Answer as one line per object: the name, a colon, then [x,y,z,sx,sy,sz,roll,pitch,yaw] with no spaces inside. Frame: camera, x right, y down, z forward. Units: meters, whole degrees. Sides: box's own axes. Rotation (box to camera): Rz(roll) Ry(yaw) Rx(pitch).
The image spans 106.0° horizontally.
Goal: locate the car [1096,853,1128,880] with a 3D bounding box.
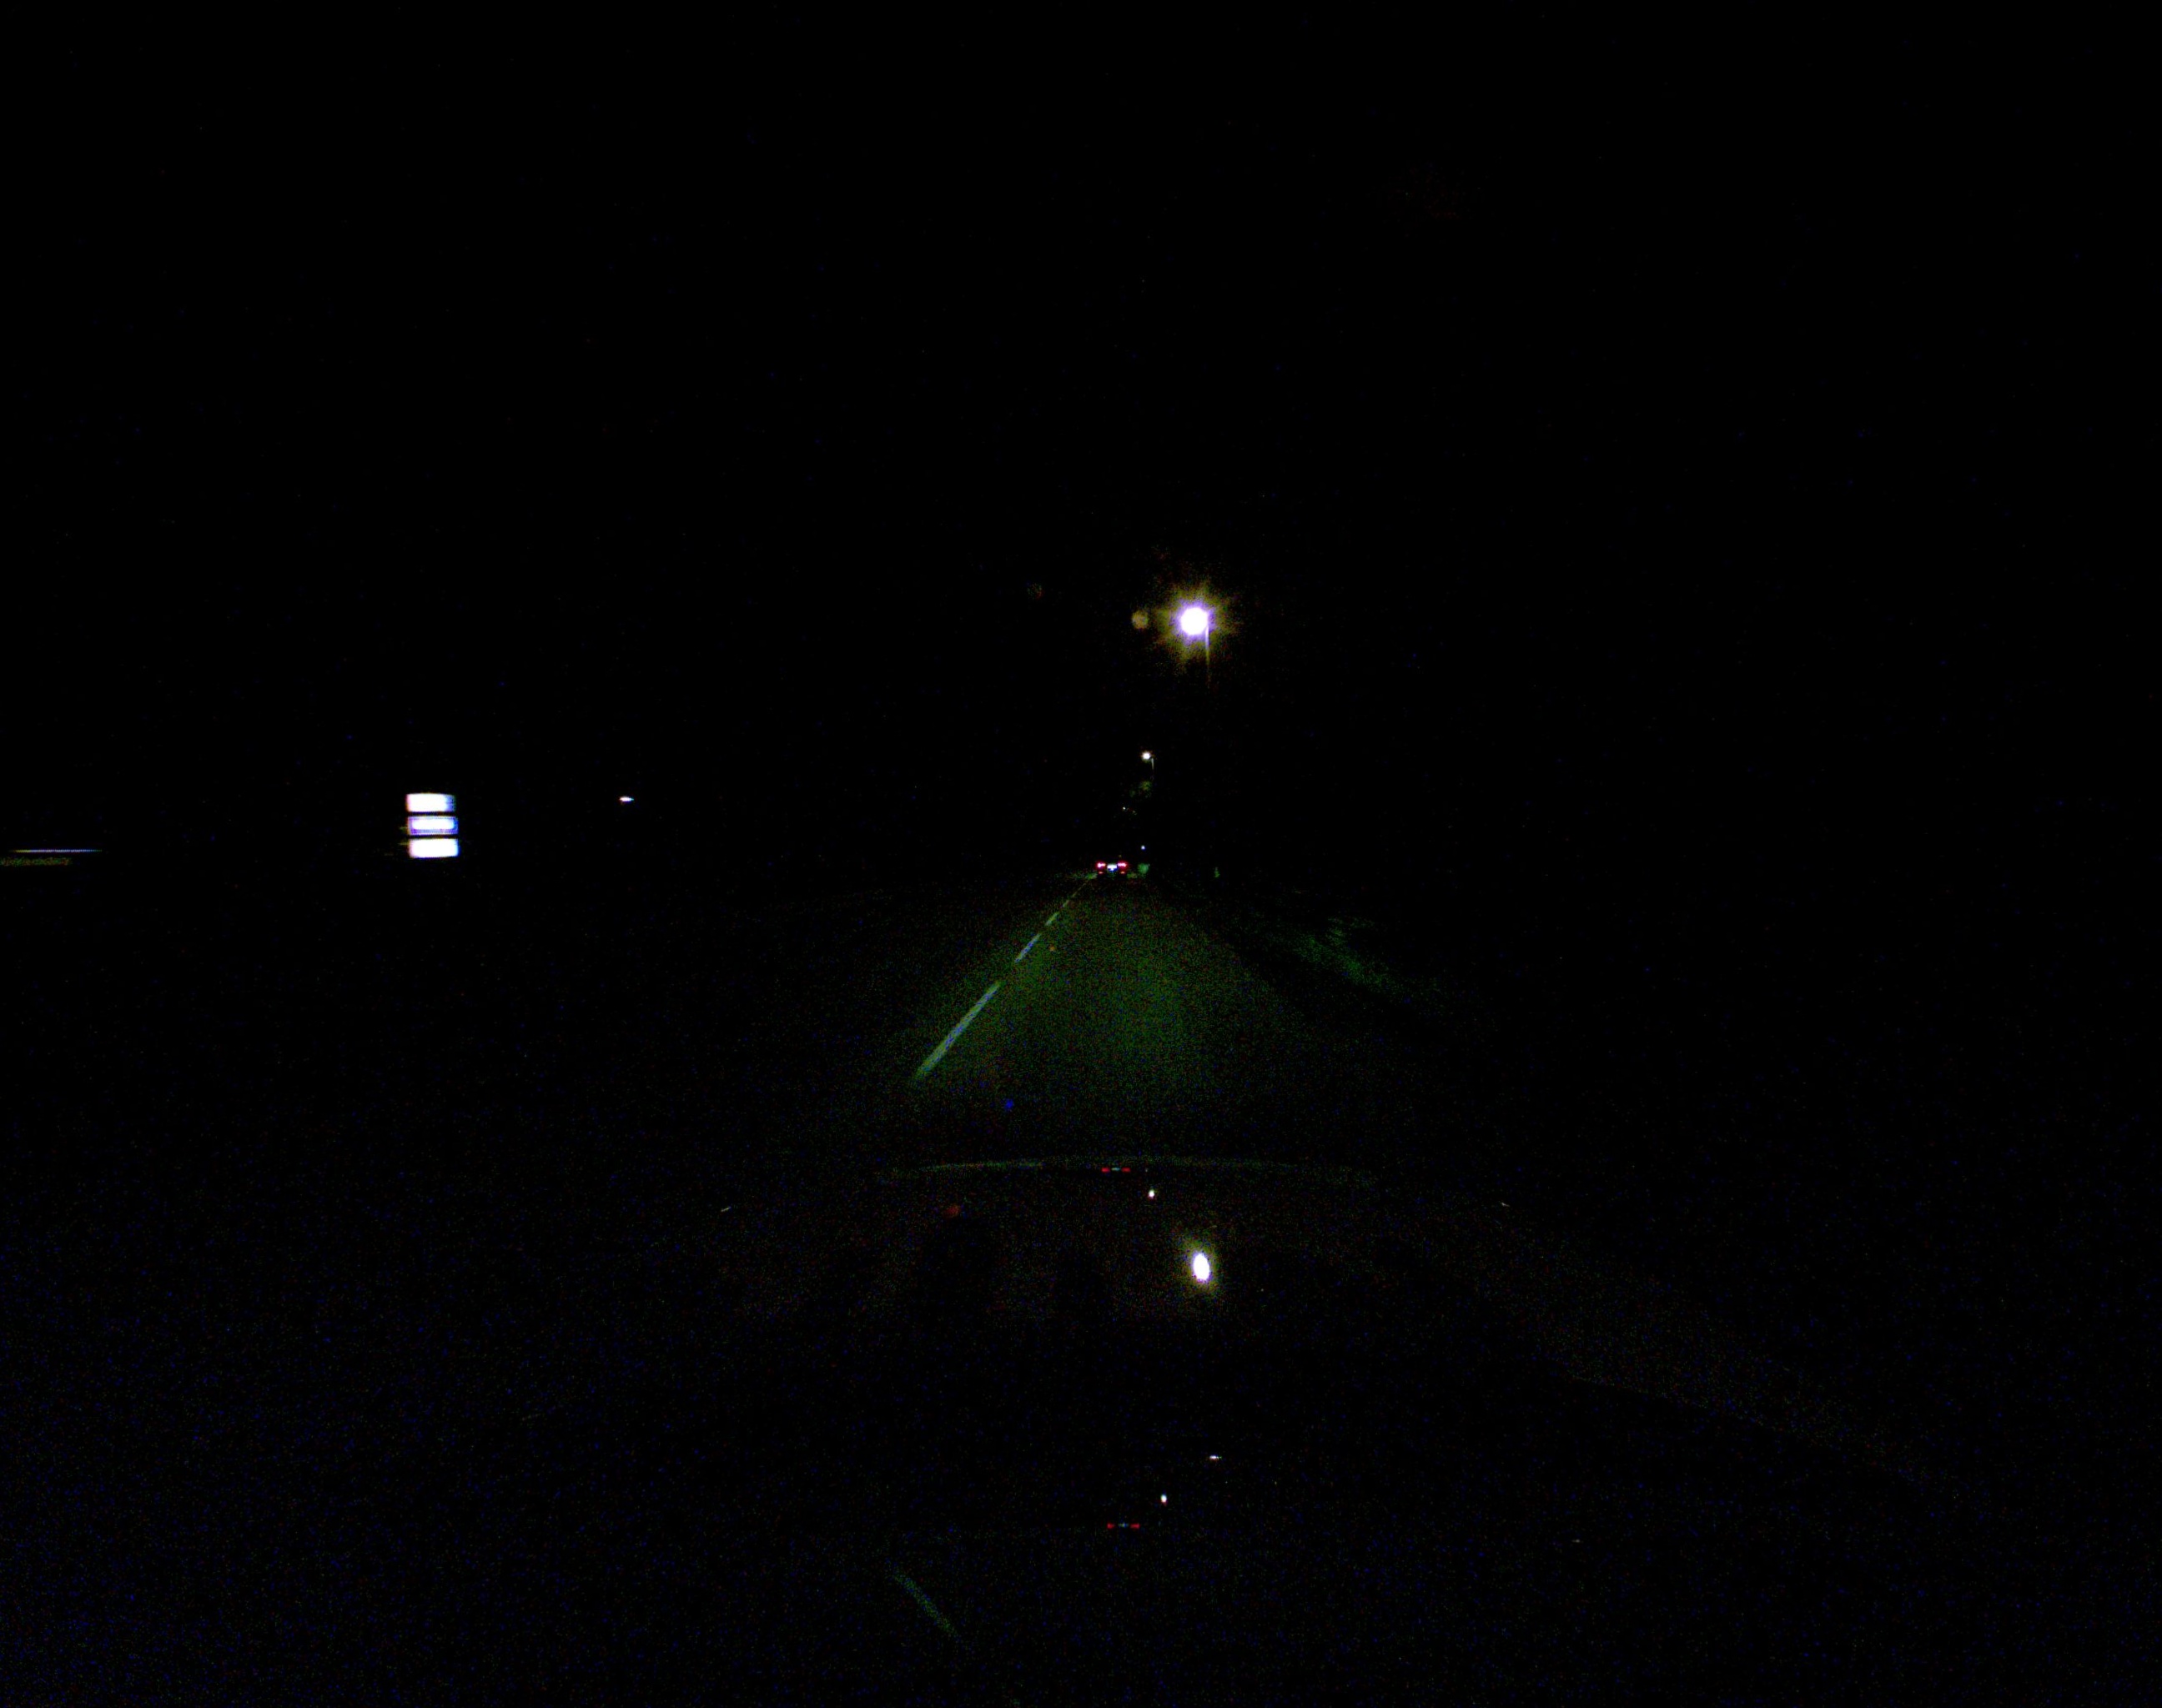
car: [1.821,0.727,49.435,1.808,1.573,3.943,-1,0,1]
